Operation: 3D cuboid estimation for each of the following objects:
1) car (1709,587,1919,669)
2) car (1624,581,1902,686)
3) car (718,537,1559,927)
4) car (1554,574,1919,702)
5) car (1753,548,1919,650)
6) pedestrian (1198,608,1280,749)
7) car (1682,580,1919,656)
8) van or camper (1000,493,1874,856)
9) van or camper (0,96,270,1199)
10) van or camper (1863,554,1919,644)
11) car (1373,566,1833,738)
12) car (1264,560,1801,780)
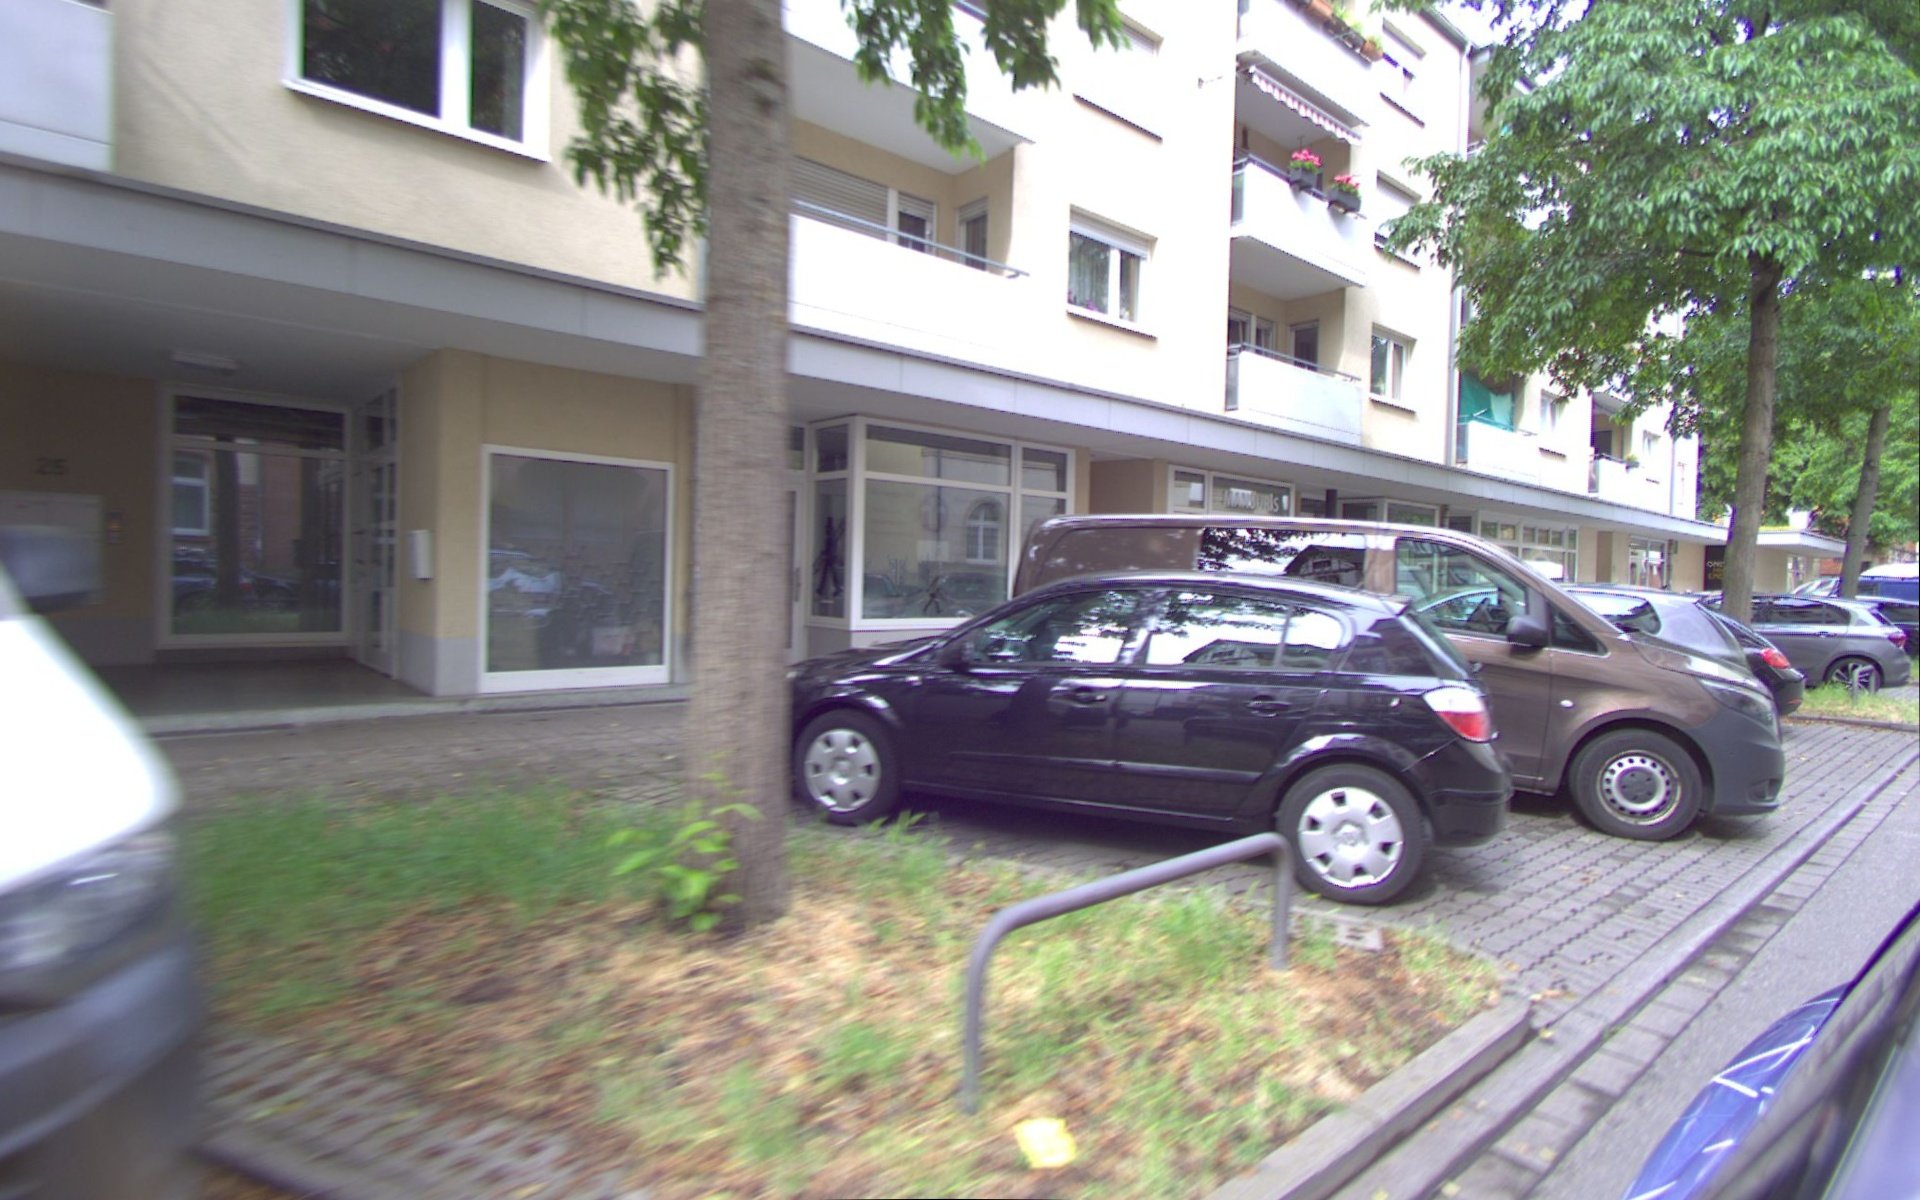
[{"bbox_3d":[18.177,0.552,20.764,4.060,1.460,1.842,2,2,19],"label":"car"},{"bbox_3d":[13.512,0.487,17.306,3.337,1.515,1.835,3,2,26],"label":"car"},{"bbox_3d":[0.859,0.488,5.734,3.956,1.462,1.831,4,3,18],"label":"car"},{"bbox_3d":[11.638,0.483,15.316,4.175,1.518,1.964,4,3,20],"label":"car"},{"bbox_3d":[22.552,0.011,24.542,4.634,2.223,2.060,4,2,12],"label":"car"},{"bbox_3d":[3.705,1.007,13.448,0.834,1.763,0.625,0,2,-41],"label":"pedestrian"},{"bbox_3d":[19.197,0.355,23.281,3.874,1.483,1.809,3,2,26],"label":"car"},{"bbox_3d":[3.009,0.265,7.442,4.969,1.892,2.110,4,3,24],"label":"van or camper"},{"bbox_3d":[-3.750,0.216,1.853,4.695,2.017,1.985,3,4,25],"label":"van or camper"},{"bbox_3d":[30.024,0.008,29.888,4.534,2.628,1.901,1,1,17],"label":"van or camper"},{"bbox_3d":[6.920,0.444,11.449,4.012,1.501,1.931,3,3,26],"label":"car"},{"bbox_3d":[4.906,0.470,9.252,3.822,1.520,1.897,3,3,25],"label":"car"}]
